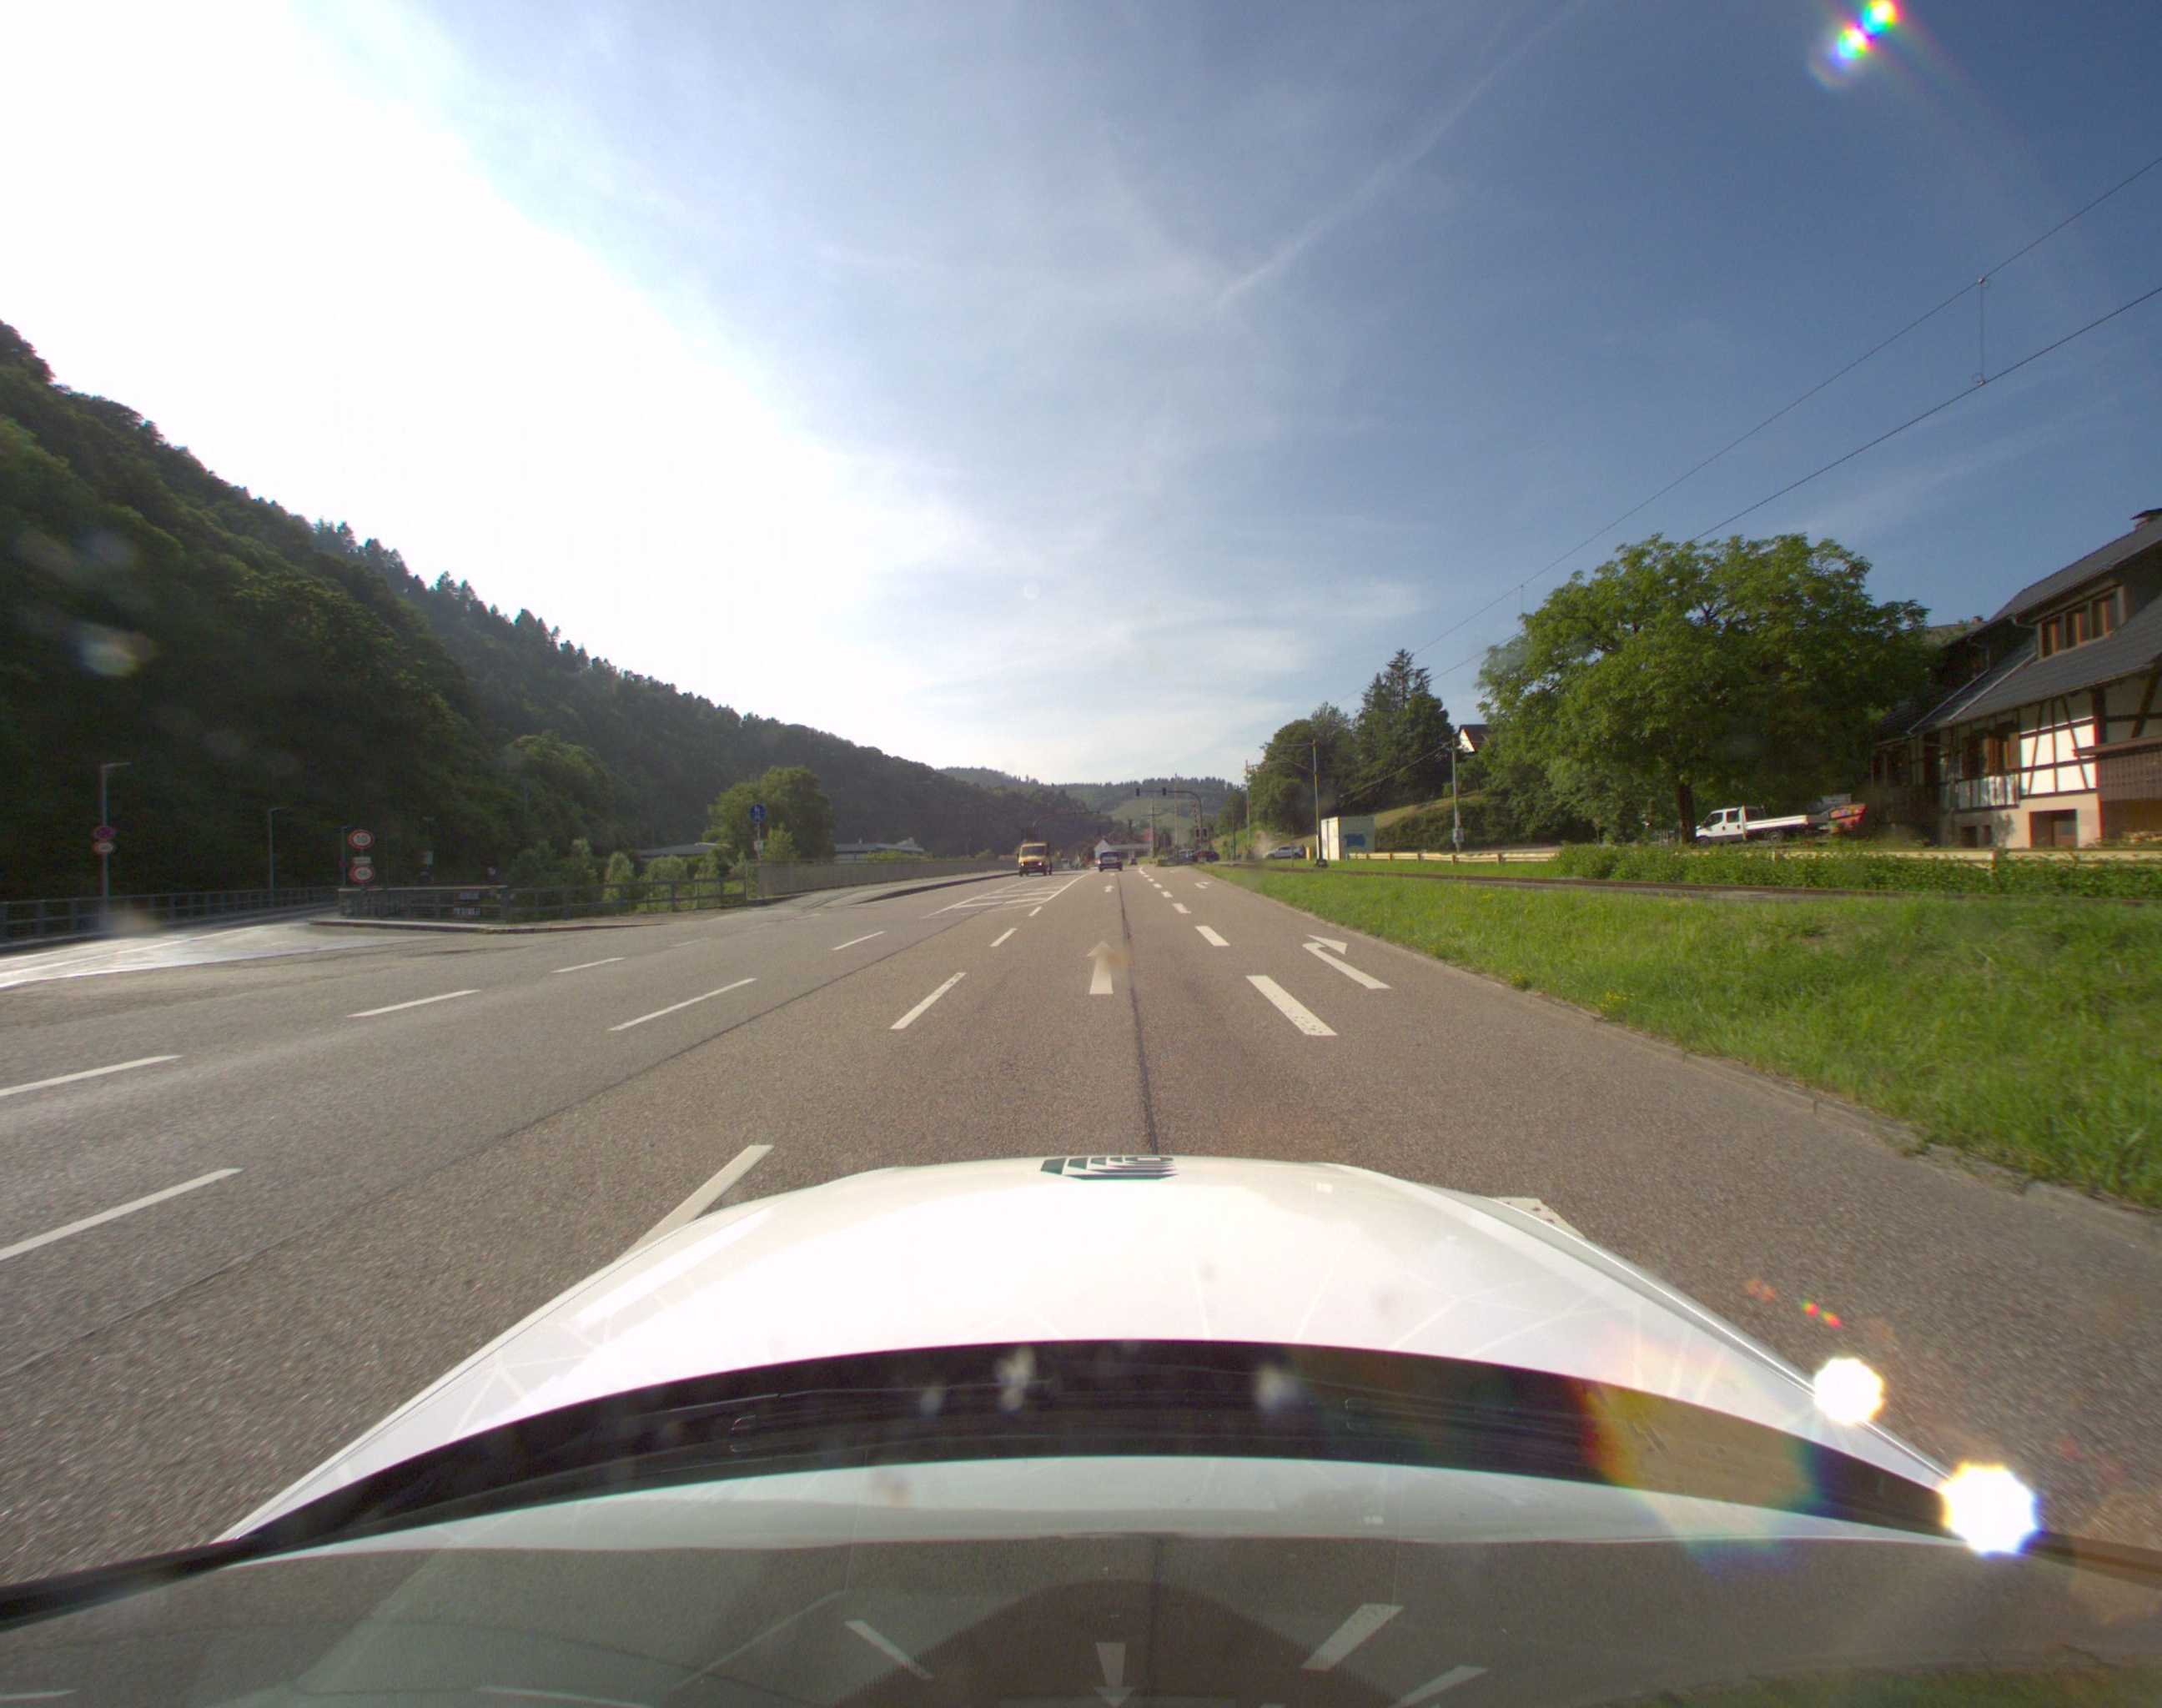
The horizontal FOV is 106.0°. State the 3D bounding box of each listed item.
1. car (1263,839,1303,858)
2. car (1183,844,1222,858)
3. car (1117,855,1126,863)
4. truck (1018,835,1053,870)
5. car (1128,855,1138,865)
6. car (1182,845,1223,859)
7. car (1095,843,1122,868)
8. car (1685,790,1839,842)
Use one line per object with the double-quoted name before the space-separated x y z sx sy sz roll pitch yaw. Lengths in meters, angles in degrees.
"car" 21.671 -0.610 87.189 3.956 1.881 1.886 -2 0 17
"car" 13.184 -0.340 88.400 3.956 1.354 1.886 -2 0 17
"car" 9.441 1.207 189.872 1.986 1.618 4.002 -3 0 2
"truck" -3.234 -0.139 59.164 1.986 2.343 5.701 -2 0 2
"car" 11.234 1.283 175.484 1.986 2.013 4.002 -3 0 2
"car" 12.838 -0.225 85.883 3.956 1.354 1.886 -2 0 17
"car" 2.192 0.105 64.346 1.986 1.723 3.993 -4 0 2
"car" 37.256 -2.001 44.815 2.387 2.330 5.987 -4 0 -24
